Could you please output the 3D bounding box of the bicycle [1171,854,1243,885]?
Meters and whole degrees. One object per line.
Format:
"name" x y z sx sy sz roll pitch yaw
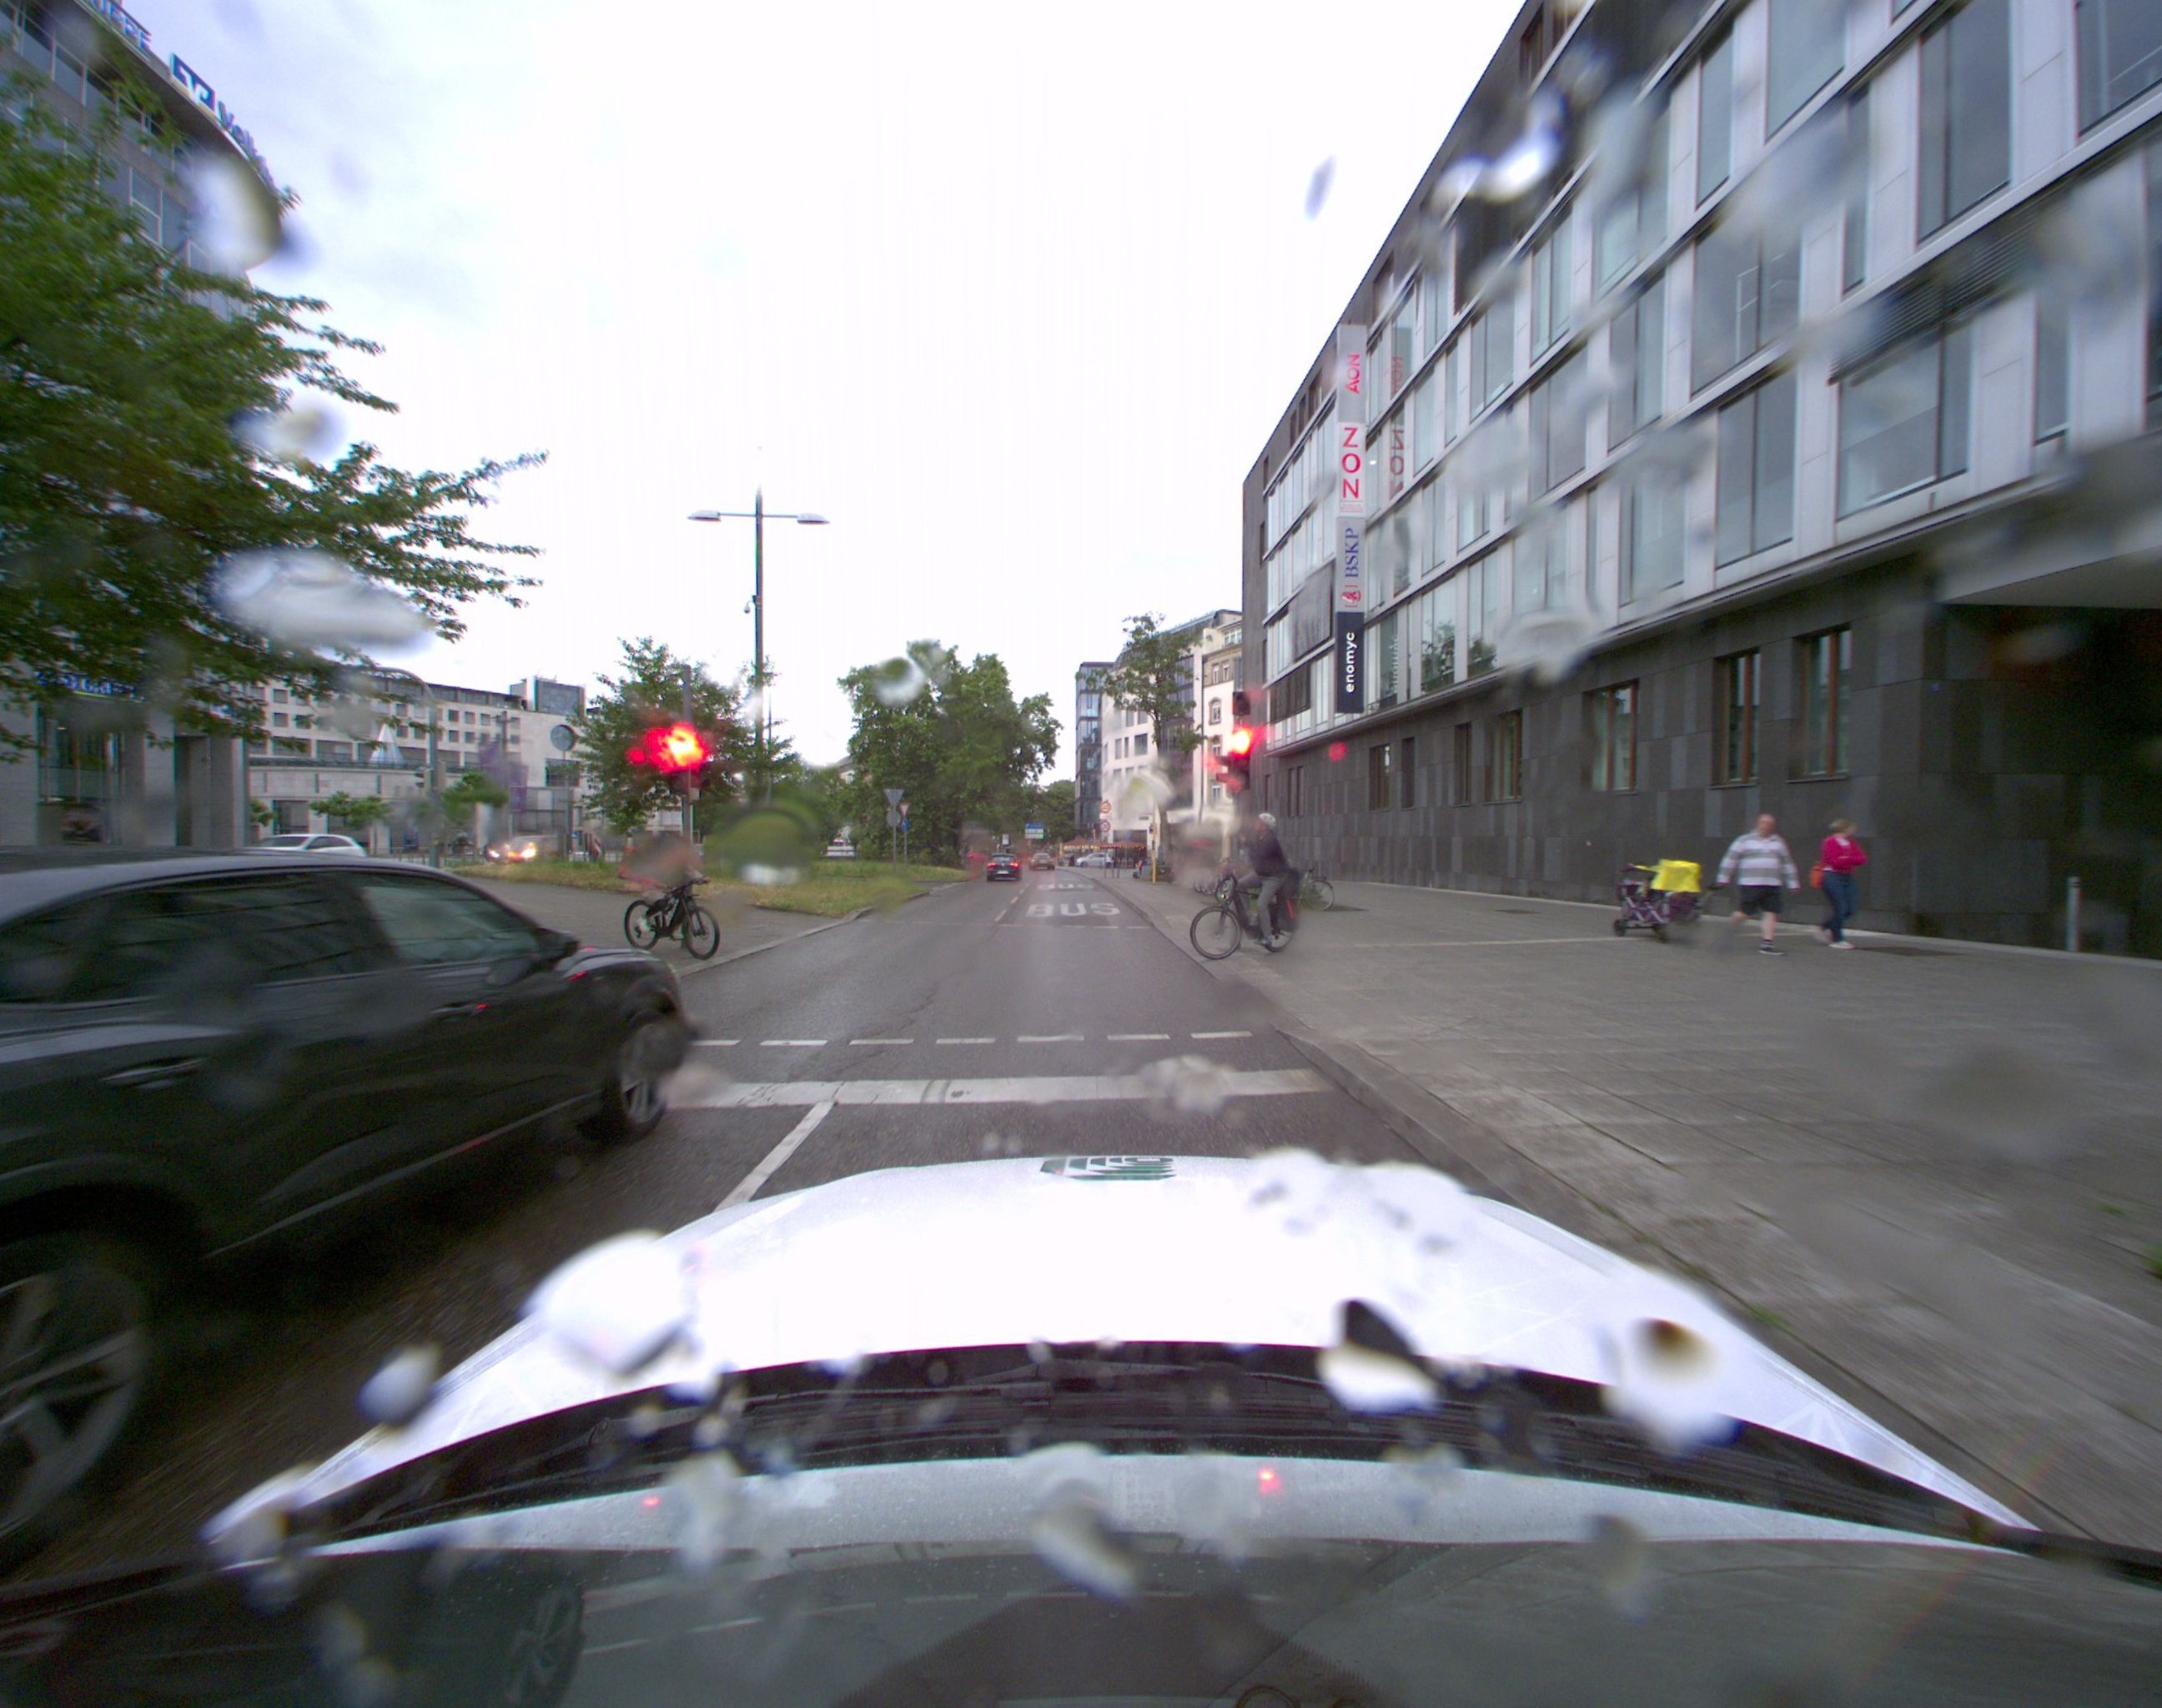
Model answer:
"bicycle" 4.593 0.574 29.787 2.530 1.087 0.677 -1 0 -4

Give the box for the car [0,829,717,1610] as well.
"car" -3.165 0.726 2.920 1.842 1.616 4.251 1 1 -1

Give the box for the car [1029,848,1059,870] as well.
"car" -3.082 0.390 66.519 2.176 1.700 3.991 0 0 -6

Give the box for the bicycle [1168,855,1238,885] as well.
"bicycle" 4.567 0.585 30.536 2.530 1.087 0.677 -1 0 -4

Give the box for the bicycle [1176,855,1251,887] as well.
"bicycle" 4.693 0.586 28.896 2.530 1.087 0.677 -1 0 -4

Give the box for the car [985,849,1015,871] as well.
"car" -6.383 0.420 63.910 1.946 1.646 4.228 0 0 -11

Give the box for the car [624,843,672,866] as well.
"car" -30.296 0.002 57.110 1.805 1.486 3.986 2 0 -10

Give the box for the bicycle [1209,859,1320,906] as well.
"bicycle" 4.408 0.671 19.660 2.530 1.087 0.677 0 0 -4

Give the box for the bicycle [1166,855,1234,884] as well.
"bicycle" 4.551 0.593 31.258 2.530 1.087 0.626 -1 0 -4

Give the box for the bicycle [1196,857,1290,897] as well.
"bicycle" 4.632 0.644 23.352 2.530 1.087 0.677 -1 0 -4

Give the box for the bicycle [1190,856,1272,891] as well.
"bicycle" 4.839 0.609 26.322 2.530 1.087 0.677 -1 0 -4

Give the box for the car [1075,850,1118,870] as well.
"car" 1.441 0.593 78.337 3.977 1.647 1.999 4 0 -2

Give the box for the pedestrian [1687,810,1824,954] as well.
"pedestrian" 8.989 0.354 10.905 0.898 1.792 1.045 -2 0 -4

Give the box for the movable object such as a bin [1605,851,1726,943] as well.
"movable object such as a bin" 8.775 0.606 12.298 0.729 1.264 1.444 -2 0 -1

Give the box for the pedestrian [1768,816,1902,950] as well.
"pedestrian" 10.152 0.370 11.012 0.716 1.690 1.098 -2 0 -4

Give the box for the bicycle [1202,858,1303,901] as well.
"bicycle" 4.545 0.672 21.688 2.530 1.087 0.677 -1 0 -4

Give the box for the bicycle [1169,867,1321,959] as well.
"bicycle" 2.321 0.780 11.408 2.140 1.145 0.755 0 0 -32

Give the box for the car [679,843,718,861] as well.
"car" -33.417 -0.182 71.232 1.803 1.486 4.371 2 0 -8

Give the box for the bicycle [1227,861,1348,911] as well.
"bicycle" 4.595 0.704 18.178 2.530 1.057 0.677 0 0 -4

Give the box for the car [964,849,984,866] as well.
"car" -11.201 0.348 85.052 1.944 1.646 3.988 0 0 -9

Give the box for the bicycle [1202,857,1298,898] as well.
"bicycle" 4.667 0.650 22.541 2.530 1.087 0.677 -1 0 -4

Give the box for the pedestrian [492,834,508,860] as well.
"pedestrian" -40.736 -0.482 57.105 0.620 1.763 0.723 -2 0 -11

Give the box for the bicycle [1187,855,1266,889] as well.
"bicycle" 4.855 0.605 27.300 2.530 1.087 0.677 -1 0 -4

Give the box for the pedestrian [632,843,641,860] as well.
"pedestrian" -53.427 -0.357 97.905 0.793 2.013 0.733 2 0 -28

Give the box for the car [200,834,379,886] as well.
"car" -24.338 0.153 25.287 1.818 1.475 4.183 0 0 -7

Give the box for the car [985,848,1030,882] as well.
"car" -3.886 0.540 43.821 2.156 1.706 4.550 0 0 -2

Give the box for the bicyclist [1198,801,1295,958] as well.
"bicyclist" 2.313 0.335 11.415 1.089 2.083 0.755 0 -1 -32

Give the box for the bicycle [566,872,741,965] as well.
"bicycle" -5.977 0.856 11.418 2.043 1.114 1.017 2 0 21

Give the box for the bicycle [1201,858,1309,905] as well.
"bicycle" 4.353 0.673 20.465 2.530 1.087 0.677 2 0 -4

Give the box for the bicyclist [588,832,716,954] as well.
"bicyclist" -5.996 0.514 11.429 1.123 1.582 1.020 2 0 20

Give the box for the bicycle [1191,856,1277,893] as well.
"bicycle" 4.715 0.627 25.127 2.530 1.087 0.677 -1 0 -4

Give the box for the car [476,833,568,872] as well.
"car" -26.544 -0.079 38.872 1.723 1.727 4.571 0 0 -7

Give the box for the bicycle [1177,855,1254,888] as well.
"bicycle" 4.638 0.604 28.144 2.530 1.087 0.677 -1 0 -4

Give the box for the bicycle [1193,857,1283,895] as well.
"bicycle" 4.662 0.644 24.219 2.530 1.060 0.677 -1 0 -4
